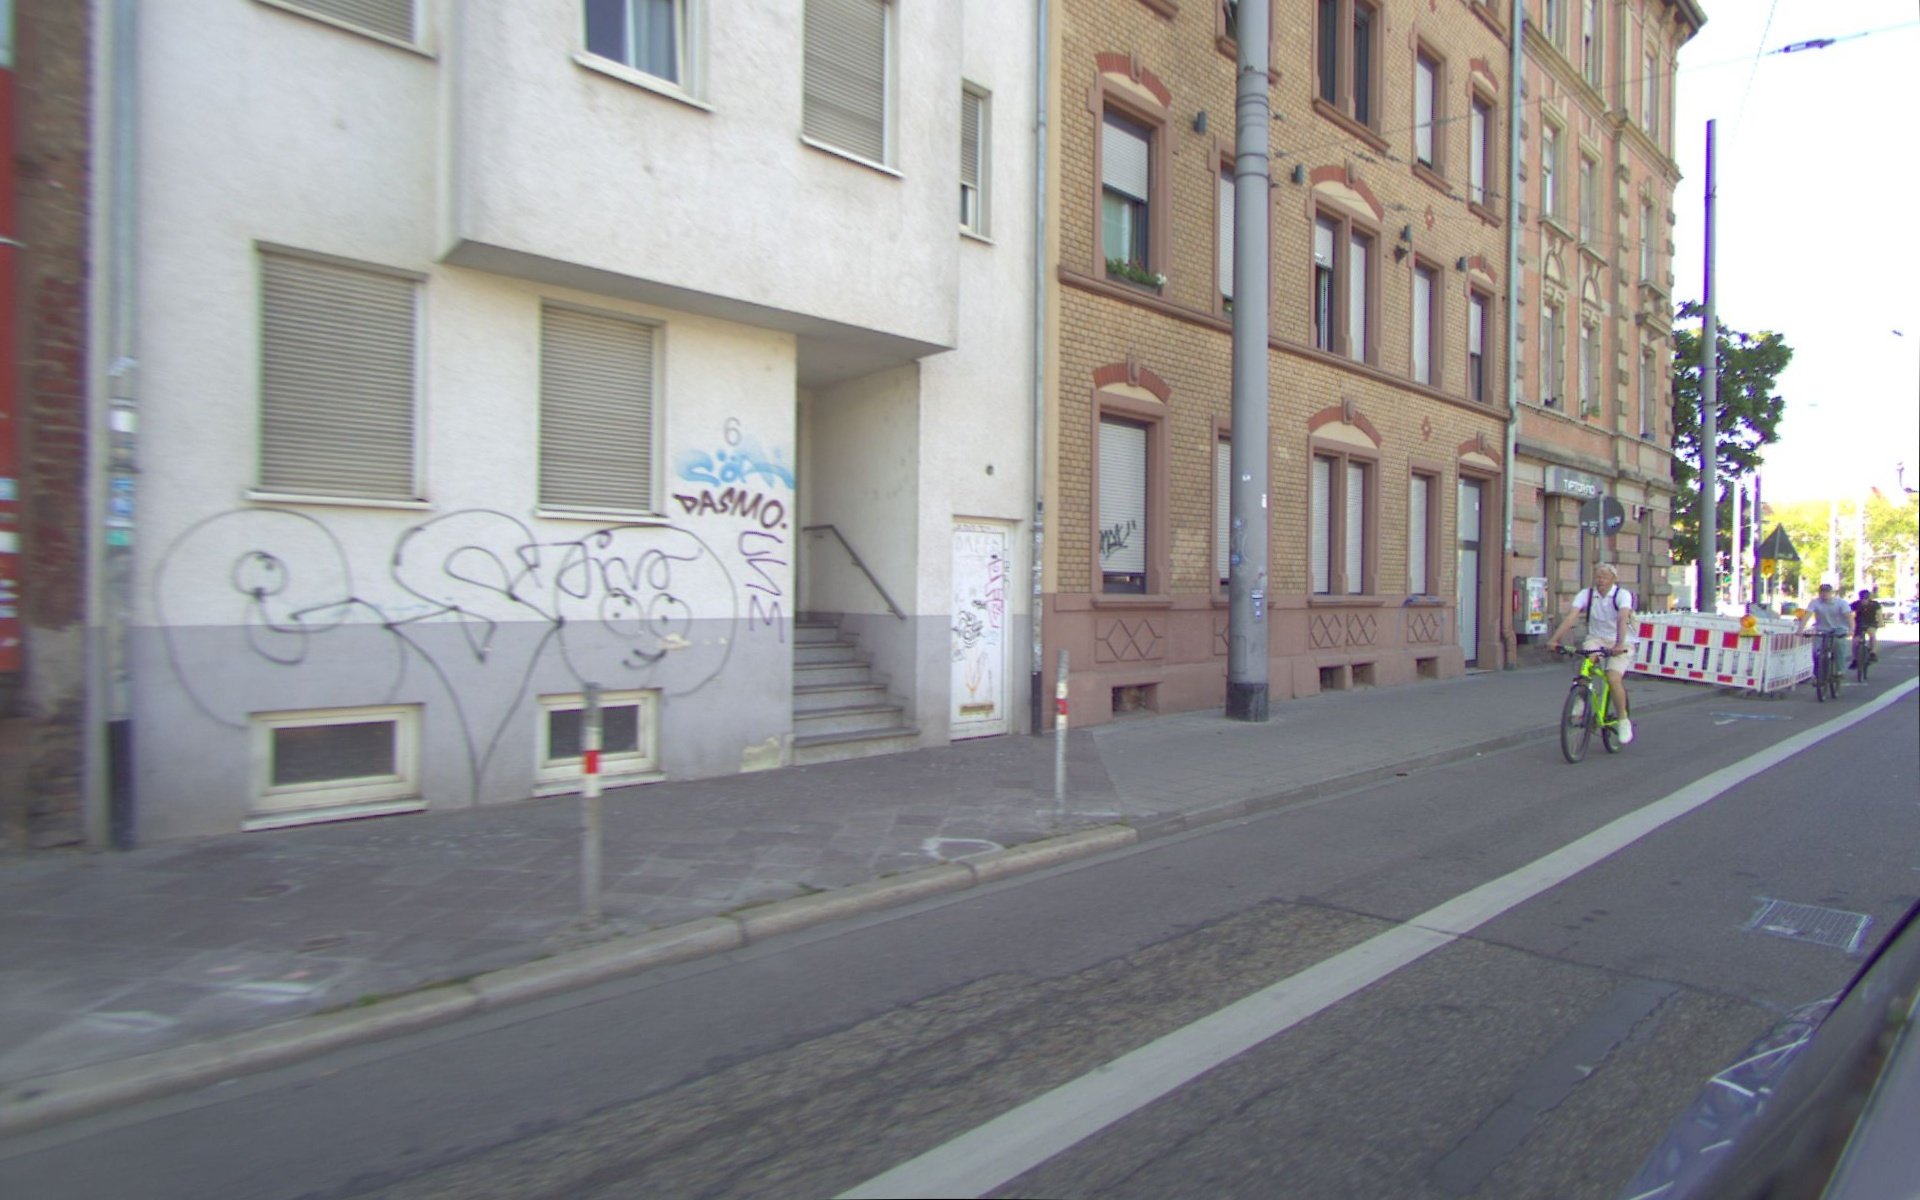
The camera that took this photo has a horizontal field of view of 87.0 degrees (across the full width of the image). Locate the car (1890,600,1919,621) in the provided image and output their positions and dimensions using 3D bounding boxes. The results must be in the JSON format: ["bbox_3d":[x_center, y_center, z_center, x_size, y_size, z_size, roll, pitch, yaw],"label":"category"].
[{"bbox_3d":[80.033,0.870,85.167,1.873,1.586,3.967,-2,0,32],"label":"car"}]

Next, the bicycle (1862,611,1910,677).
[{"bbox_3d":[17.479,0.801,19.130,0.530,1.131,1.907,0,1,38],"label":"bicycle"}]

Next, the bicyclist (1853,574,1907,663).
[{"bbox_3d":[17.526,0.341,19.294,0.621,1.634,0.968,-2,-1,36],"label":"bicyclist"}]

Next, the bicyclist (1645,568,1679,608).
[{"bbox_3d":[29.766,-0.513,42.931,1.029,1.681,0.453,-1,-1,9],"label":"bicyclist"}]

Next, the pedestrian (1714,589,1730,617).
[{"bbox_3d":[49.705,0.203,66.019,0.810,1.779,0.659,-1,-1,-45],"label":"pedestrian"}]

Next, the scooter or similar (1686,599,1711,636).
[{"bbox_3d":[24.644,0.570,33.764,1.674,1.172,0.270,-1,-1,-41],"label":"scooter or similar"}]

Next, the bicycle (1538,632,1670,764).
[{"bbox_3d":[6.168,0.878,9.646,1.900,1.132,0.532,1,-2,-41],"label":"bicycle"}]

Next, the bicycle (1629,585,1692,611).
[{"bbox_3d":[29.718,-0.072,42.968,2.160,1.072,0.487,0,-1,10],"label":"bicycle"}]

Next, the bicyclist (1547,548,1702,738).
[{"bbox_3d":[6.325,0.382,9.646,1.097,1.705,0.684,-1,-1,-22],"label":"bicyclist"}]

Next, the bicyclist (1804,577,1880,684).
[{"bbox_3d":[13.826,0.461,15.861,0.870,1.613,0.784,0,0,-40],"label":"bicyclist"}]

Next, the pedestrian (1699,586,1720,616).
[{"bbox_3d":[50.163,0.044,67.753,1.032,1.954,0.931,-1,-1,-45],"label":"pedestrian"}]

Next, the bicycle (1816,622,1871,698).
[{"bbox_3d":[13.846,0.909,15.847,1.900,1.082,0.387,0,0,-41],"label":"bicycle"}]
